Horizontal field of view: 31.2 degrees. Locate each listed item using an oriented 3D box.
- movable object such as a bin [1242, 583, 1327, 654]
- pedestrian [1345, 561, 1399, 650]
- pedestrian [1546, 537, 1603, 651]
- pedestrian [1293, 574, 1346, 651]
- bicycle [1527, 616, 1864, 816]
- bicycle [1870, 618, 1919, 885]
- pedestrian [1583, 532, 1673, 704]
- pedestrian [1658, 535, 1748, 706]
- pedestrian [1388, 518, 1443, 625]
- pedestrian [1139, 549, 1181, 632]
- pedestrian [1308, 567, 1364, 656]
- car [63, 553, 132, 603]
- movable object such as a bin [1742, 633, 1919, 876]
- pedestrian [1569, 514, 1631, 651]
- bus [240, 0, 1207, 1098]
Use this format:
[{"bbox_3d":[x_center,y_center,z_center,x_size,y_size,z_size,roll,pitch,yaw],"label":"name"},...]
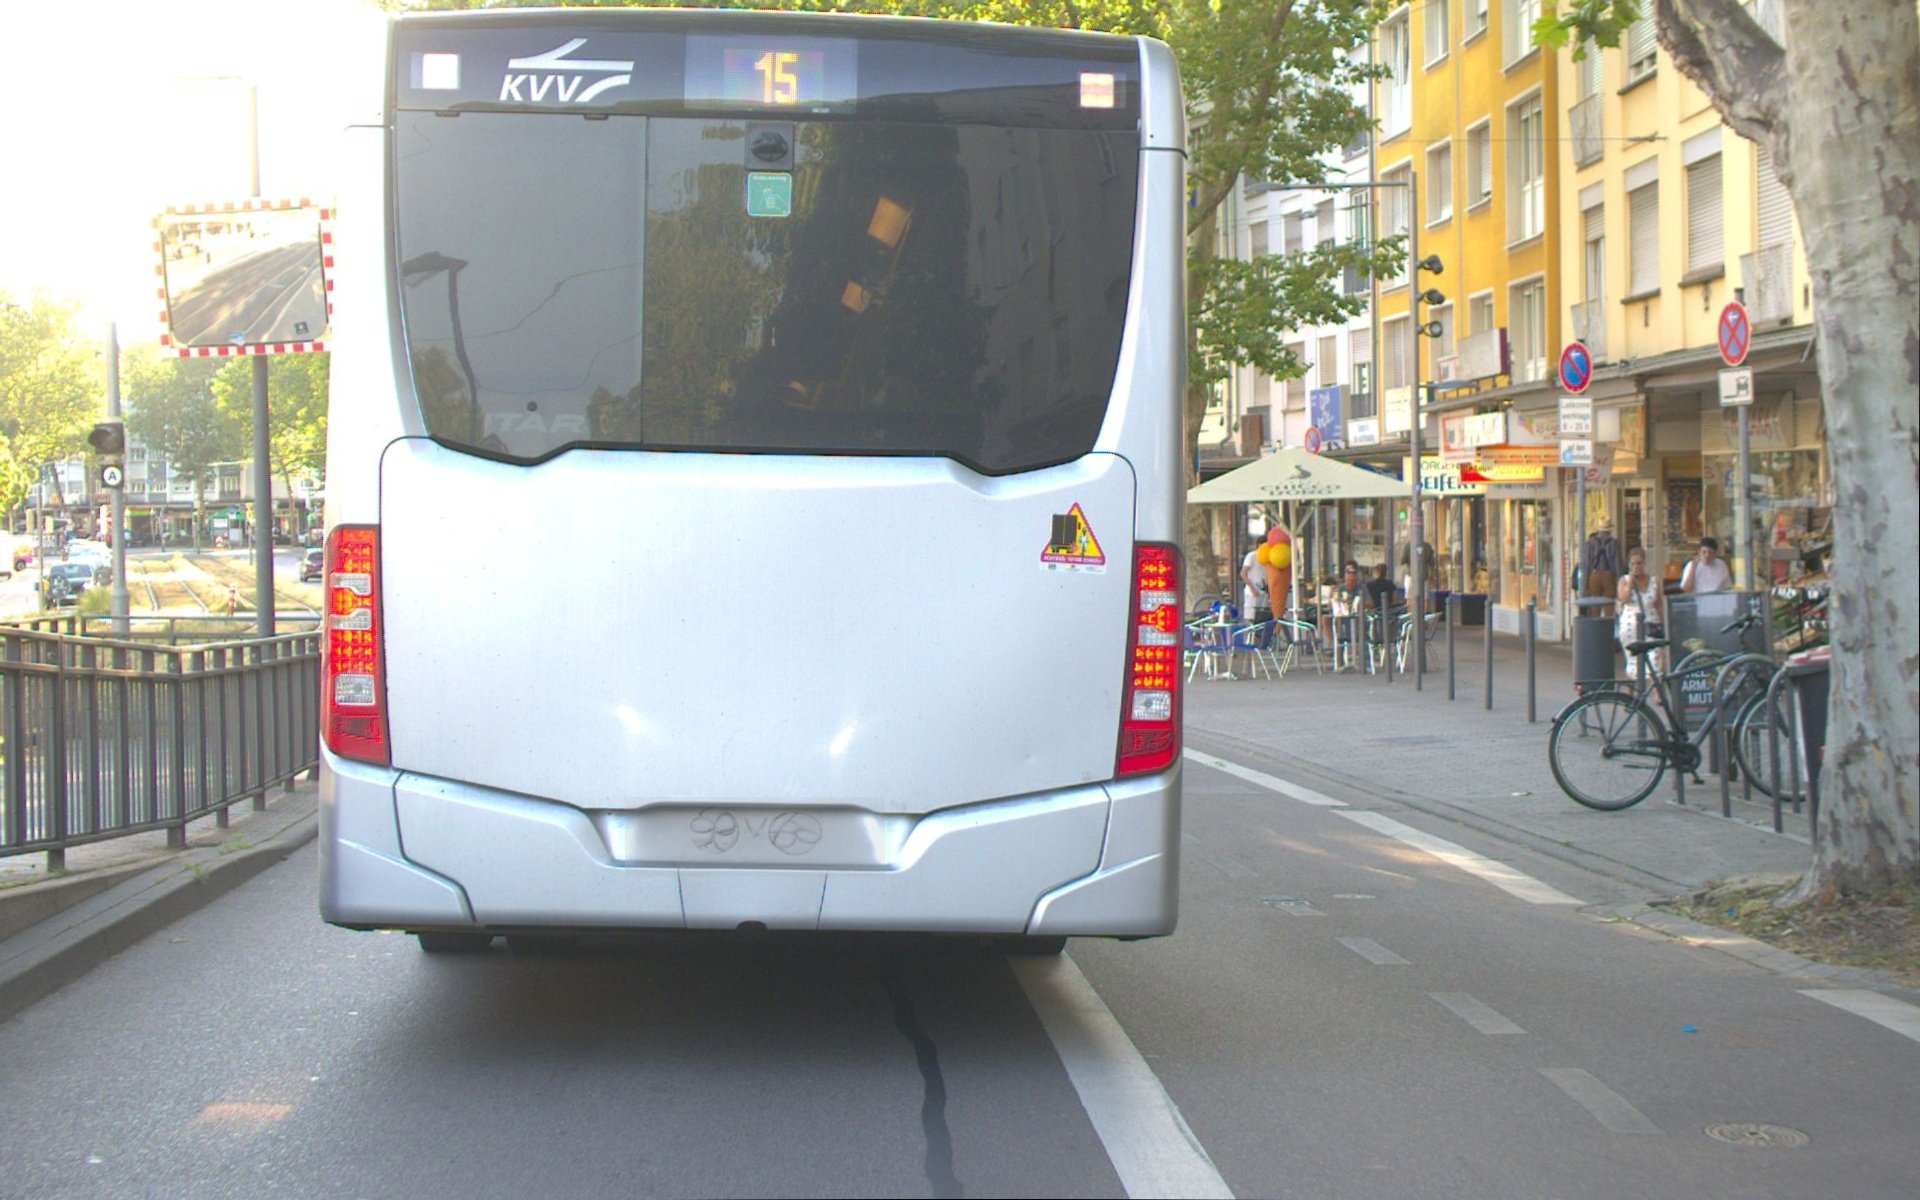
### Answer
[{"bbox_3d":[4.814,0.273,50.993,0.926,1.020,0.840,1,1,-31],"label":"movable object such as a bin"},{"bbox_3d":[5.927,0.074,49.465,0.583,1.270,0.759,1,0,-8],"label":"pedestrian"},{"bbox_3d":[8.455,-0.086,47.304,0.625,1.541,0.637,-1,1,23],"label":"pedestrian"},{"bbox_3d":[5.239,0.178,50.076,0.583,1.111,0.751,1,0,-8],"label":"pedestrian"},{"bbox_3d":[4.462,0.702,20.928,1.907,1.101,0.518,-3,1,5],"label":"bicycle"},{"bbox_3d":[4.861,0.647,14.706,1.717,1.114,0.745,0,-3,-1],"label":"bicycle"},{"bbox_3d":[6.326,0.165,32.561,0.635,1.581,0.627,-3,1,-2],"label":"pedestrian"},{"bbox_3d":[7.035,0.189,32.556,0.622,1.581,0.627,-3,1,-2],"label":"pedestrian"},{"bbox_3d":[7.851,-0.495,59.246,0.706,1.785,0.788,-4,1,-2],"label":"pedestrian"},{"bbox_3d":[4.390,-0.212,75.523,0.780,1.788,0.764,-1,1,-8],"label":"pedestrian"},{"bbox_3d":[5.222,0.159,47.744,0.605,1.221,0.745,-1,1,-8],"label":"pedestrian"},{"bbox_3d":[-28.162,-0.730,112.348,1.722,1.504,3.477,-3,1,-7],"label":"car"},{"bbox_3d":[4.281,0.748,16.836,0.722,1.098,0.644,-5,0,6],"label":"movable object such as a bin"},{"bbox_3d":[8.488,-0.236,45.588,0.636,1.797,0.626,-1,1,28],"label":"pedestrian"},{"bbox_3d":[-0.845,-0.206,13.178,2.677,3.073,7.115,0,1,-3],"label":"bus"}]
